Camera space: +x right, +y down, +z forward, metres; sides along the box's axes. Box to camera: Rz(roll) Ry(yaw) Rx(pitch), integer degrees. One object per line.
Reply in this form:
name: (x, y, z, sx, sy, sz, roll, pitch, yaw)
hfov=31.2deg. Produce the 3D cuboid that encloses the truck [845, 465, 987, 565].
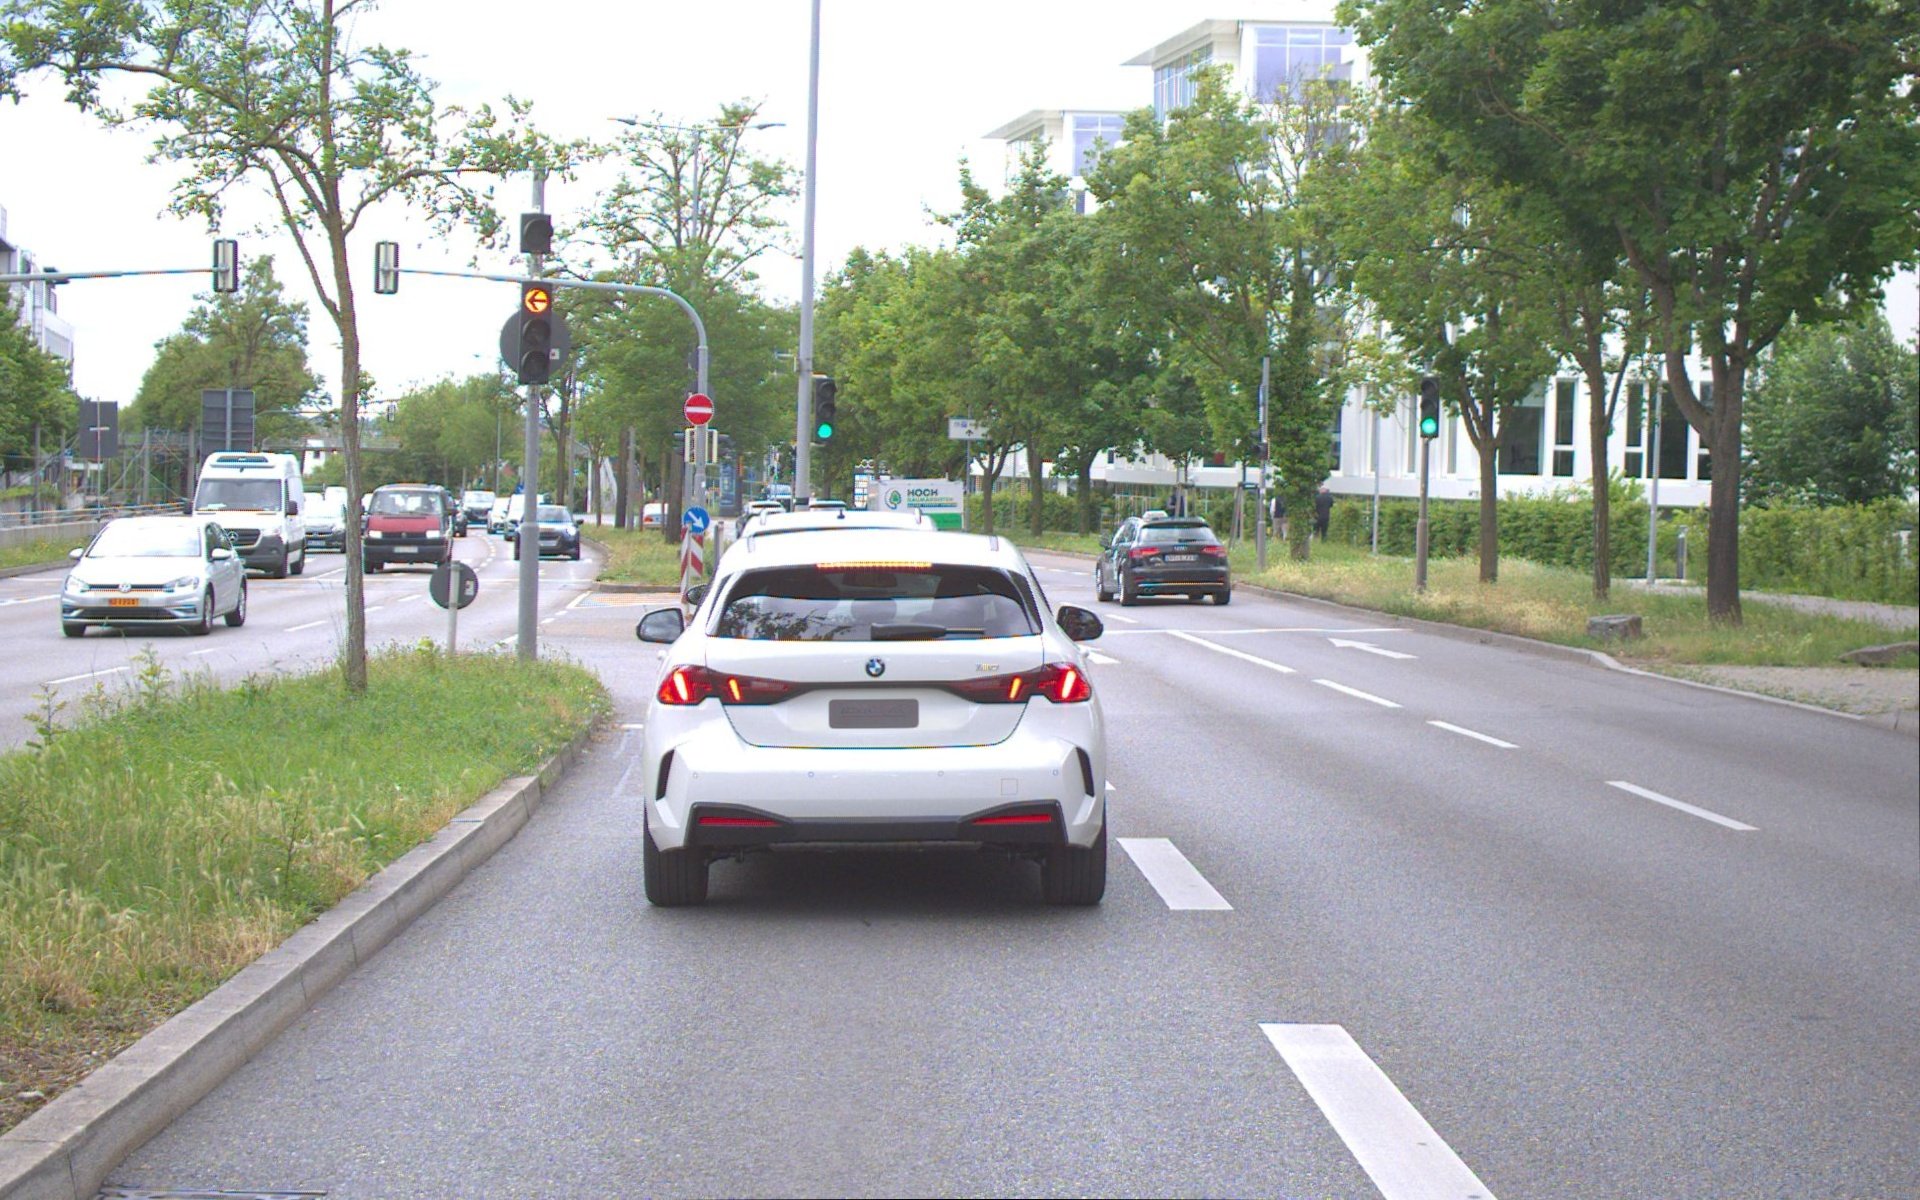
truck: (-1.233, -2.233, 91.514, 2.858, 2.511, 6.289, 1, 1, -9)

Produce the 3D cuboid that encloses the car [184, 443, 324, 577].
car: (-14.821, -1.908, 72.490, 1.993, 2.625, 5.876, 3, 1, -4)

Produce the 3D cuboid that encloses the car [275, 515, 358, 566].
car: (-18.150, -1.687, 97.119, 1.708, 1.414, 3.803, 0, 1, -1)

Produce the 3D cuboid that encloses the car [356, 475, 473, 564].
car: (-12.247, -1.823, 77.479, 1.935, 1.911, 4.974, 1, 1, -1)

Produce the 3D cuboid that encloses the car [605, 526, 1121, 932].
car: (-0.306, 0.439, 14.574, 1.863, 1.444, 4.000, 1, 1, 1)

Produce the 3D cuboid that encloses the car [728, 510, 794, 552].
car: (-7.447, -2.587, 128.418, 1.993, 1.503, 4.001, 1, 1, -10)

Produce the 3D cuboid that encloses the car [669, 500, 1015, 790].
car: (-0.696, 0.231, 22.155, 1.993, 1.666, 4.000, 1, 1, 0)

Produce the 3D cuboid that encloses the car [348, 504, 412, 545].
car: (-20.604, -2.696, 122.188, 1.708, 1.414, 3.803, 0, 1, -1)

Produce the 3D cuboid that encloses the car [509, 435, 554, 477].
car: (-22.441, -7.533, 180.215, 1.993, 2.004, 4.325, 3, 1, -4)

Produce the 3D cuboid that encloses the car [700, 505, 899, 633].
car: (-1.978, -0.405, 43.568, 1.994, 1.503, 3.999, 1, 1, 5)

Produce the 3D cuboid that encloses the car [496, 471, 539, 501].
car: (-25.395, -6.515, 197.366, 1.993, 1.612, 4.001, 3, 1, -1)

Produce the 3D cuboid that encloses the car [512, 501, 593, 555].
car: (-10.688, -1.902, 90.313, 1.753, 1.366, 3.780, 0, 1, -1)

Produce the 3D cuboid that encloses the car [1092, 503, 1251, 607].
car: (3.385, -0.756, 55.766, 1.993, 1.590, 4.001, 1, 1, -4)

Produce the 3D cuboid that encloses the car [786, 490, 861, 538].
car: (-4.380, -2.754, 109.813, 1.993, 1.503, 4.001, 1, 2, -8)

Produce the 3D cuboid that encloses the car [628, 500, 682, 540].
car: (-12.142, -3.190, 136.851, 1.993, 1.485, 4.001, 2, 2, -3)

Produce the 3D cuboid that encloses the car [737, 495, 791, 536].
car: (-7.489, -3.223, 131.143, 1.993, 1.485, 4.001, 2, 2, -3)

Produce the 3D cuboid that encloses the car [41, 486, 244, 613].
car: (-10.216, -0.658, 43.211, 1.753, 1.439, 4.135, 3, 1, -4)

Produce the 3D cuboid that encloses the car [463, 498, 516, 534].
car: (-20.897, -3.740, 152.698, 1.993, 1.485, 4.001, 2, 2, -3)
